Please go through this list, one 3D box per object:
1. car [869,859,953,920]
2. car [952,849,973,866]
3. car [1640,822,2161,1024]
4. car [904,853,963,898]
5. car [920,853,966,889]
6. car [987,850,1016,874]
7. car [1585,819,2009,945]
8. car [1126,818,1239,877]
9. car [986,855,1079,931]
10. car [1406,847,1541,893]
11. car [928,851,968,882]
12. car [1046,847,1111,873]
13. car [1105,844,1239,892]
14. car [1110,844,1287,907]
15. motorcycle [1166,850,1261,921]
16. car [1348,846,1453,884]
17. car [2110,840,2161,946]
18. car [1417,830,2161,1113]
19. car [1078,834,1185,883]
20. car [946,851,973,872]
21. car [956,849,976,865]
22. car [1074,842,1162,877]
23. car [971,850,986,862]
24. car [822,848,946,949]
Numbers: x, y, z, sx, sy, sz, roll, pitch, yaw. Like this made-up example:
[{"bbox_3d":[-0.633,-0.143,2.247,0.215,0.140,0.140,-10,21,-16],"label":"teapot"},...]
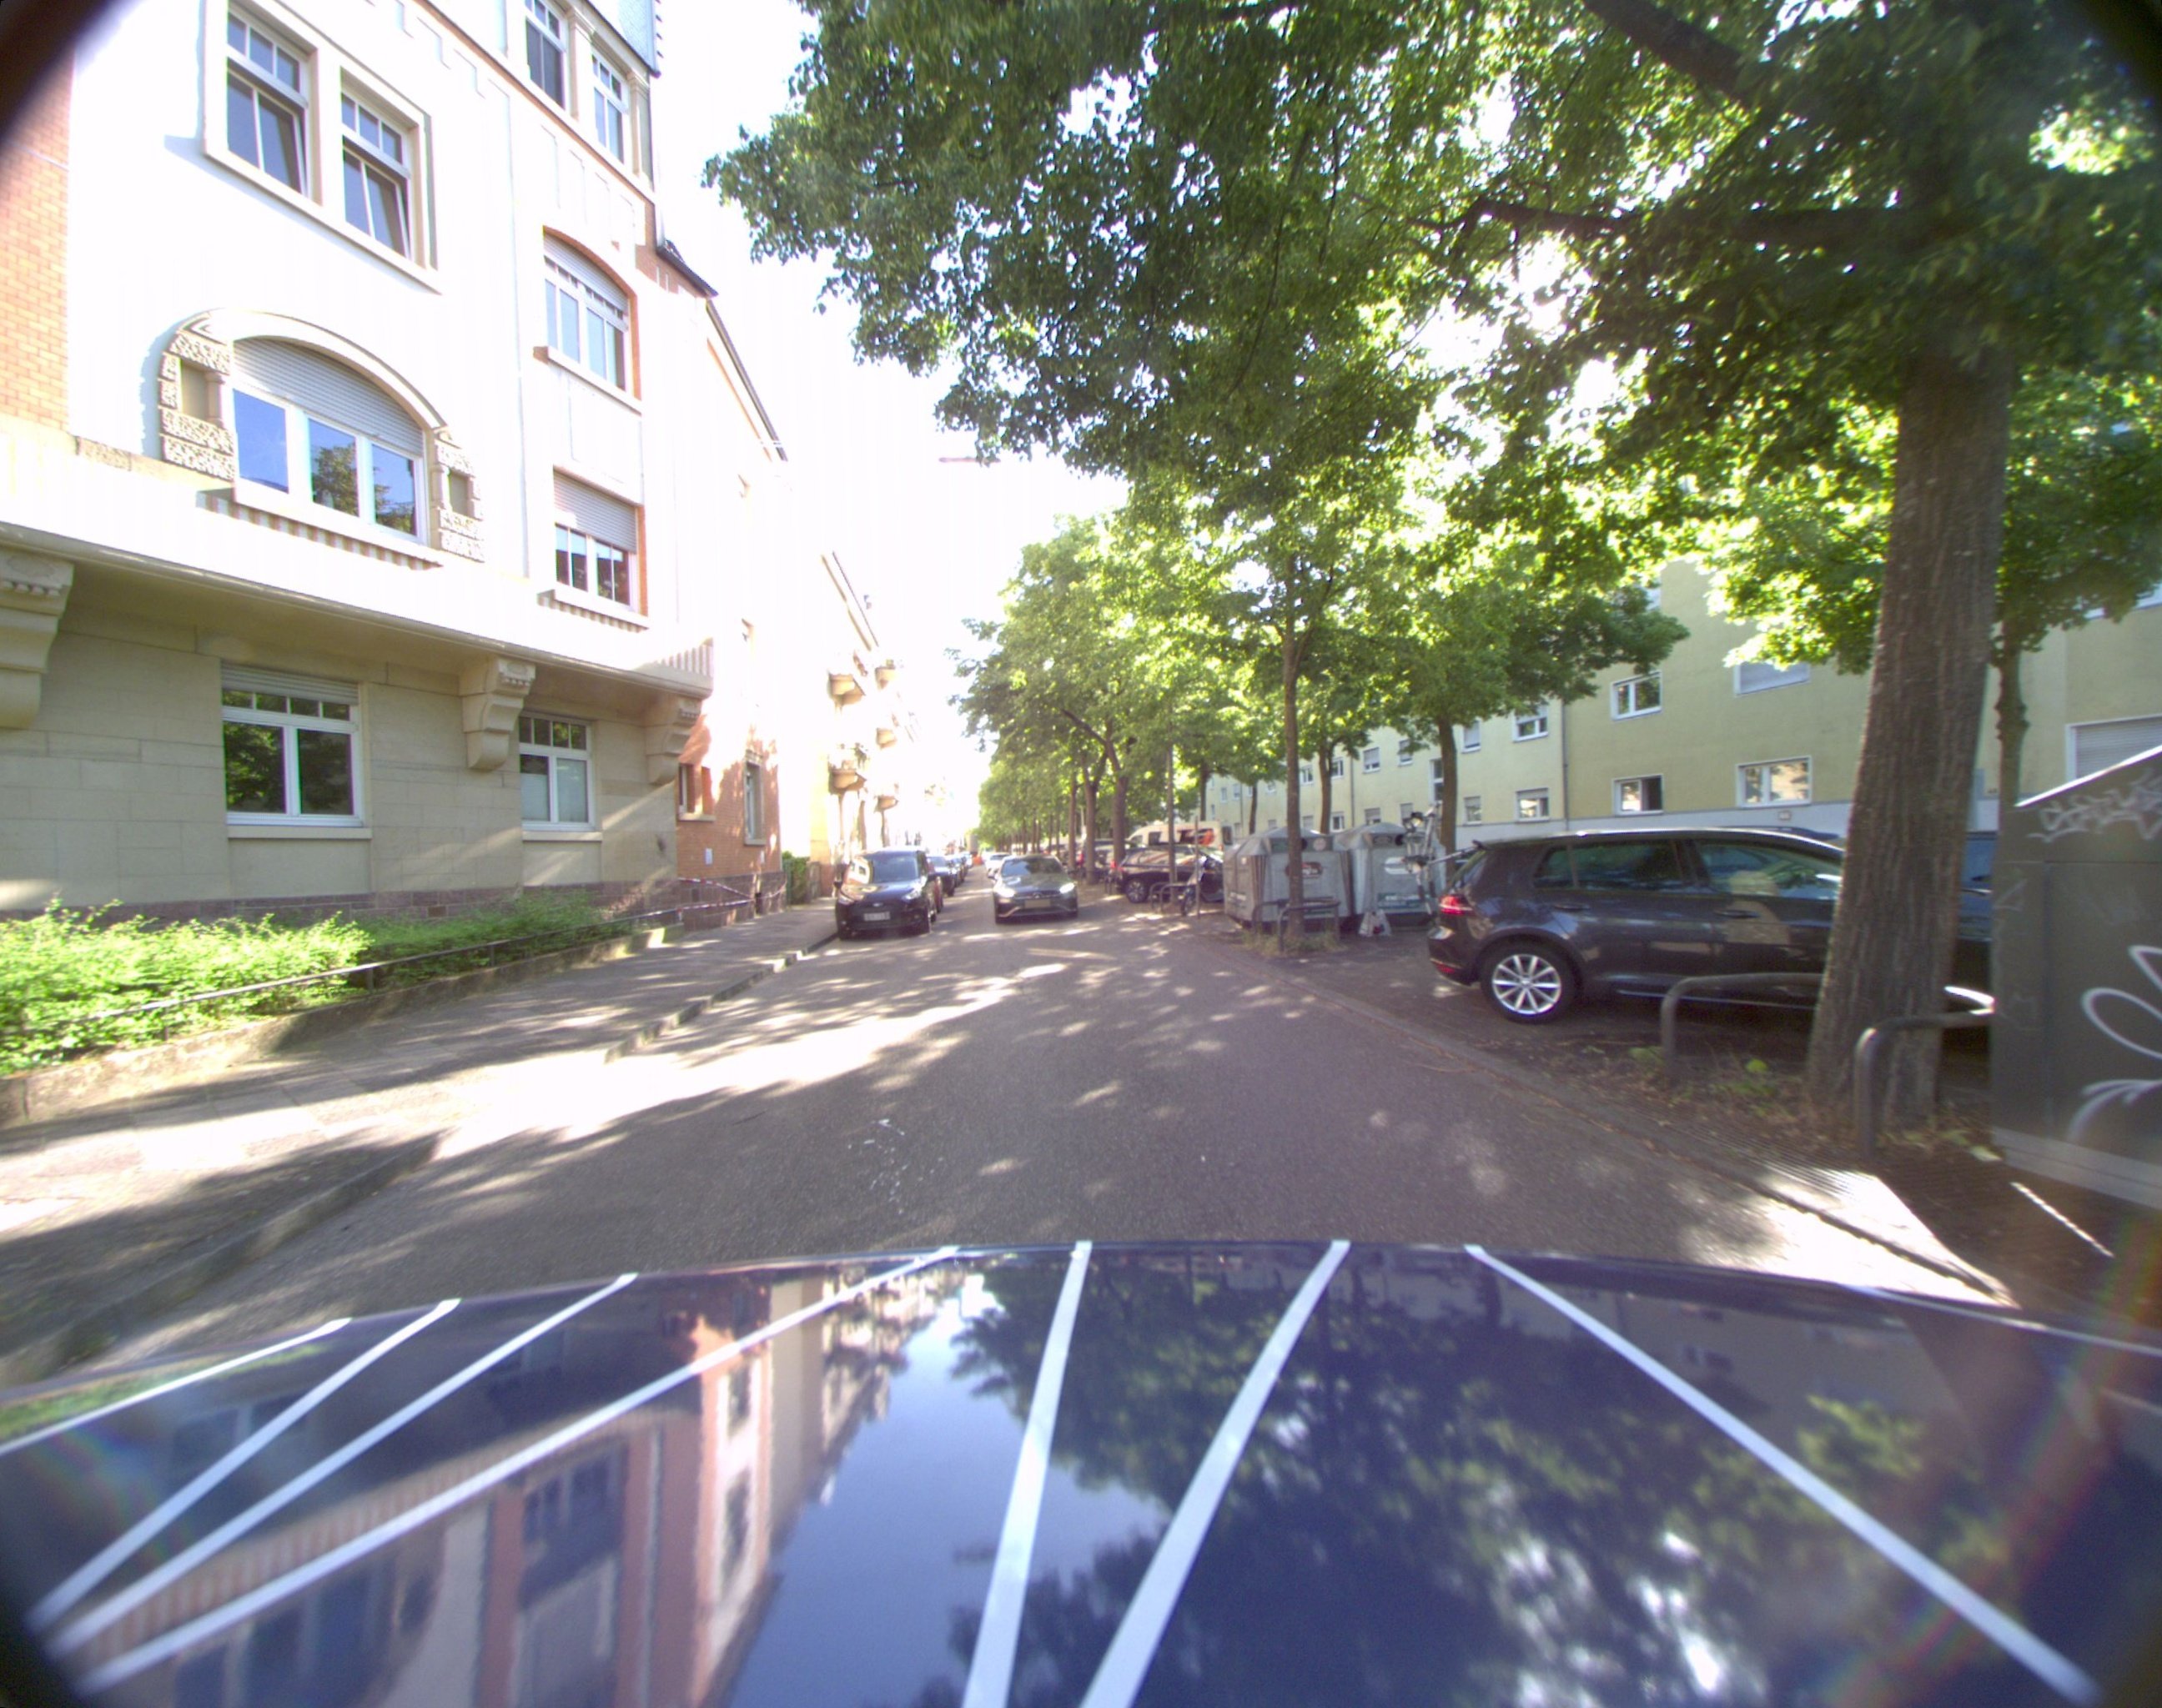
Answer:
[{"bbox_3d":[-4.836,0.946,22.161,1.798,1.445,4.206,-4,1,-5],"label":"car"},{"bbox_3d":[-11.974,0.321,77.083,1.798,1.547,4.206,-4,1,-5],"label":"car"},{"bbox_3d":[7.506,0.502,6.731,3.989,1.464,1.763,-1,1,32],"label":"car"},{"bbox_3d":[-5.775,0.806,30.227,1.798,1.547,4.206,-4,1,-5],"label":"car"},{"bbox_3d":[-6.735,0.785,37.486,1.798,1.547,4.206,-4,1,-5],"label":"car"},{"bbox_3d":[-5.168,0.487,49.692,1.798,1.427,4.206,-2,0,-5],"label":"car"},{"bbox_3d":[9.334,0.342,10.168,3.997,1.464,1.759,-1,1,1],"label":"car"},{"bbox_3d":[4.528,-0.245,34.009,4.583,2.476,1.990,-1,1,27],"label":"car"},{"bbox_3d":[-1.166,0.790,17.526,1.798,1.427,4.206,-3,0,-5],"label":"car"},{"bbox_3d":[13.560,0.509,26.585,2.043,1.430,4.384,-1,0,-7],"label":"car"},{"bbox_3d":[-7.403,0.656,42.674,1.798,1.547,4.206,-4,1,-5],"label":"car"},{"bbox_3d":[-0.166,0.396,51.392,3.992,1.677,1.826,-1,1,18],"label":"car"},{"bbox_3d":[3.015,0.458,25.280,3.989,1.445,1.827,-1,1,31],"label":"car"},{"bbox_3d":[2.931,0.524,19.185,3.989,1.433,1.827,-1,1,31],"label":"car"},{"bbox_3d":[2.722,0.617,15.592,1.802,1.340,0.727,-2,1,-25],"label":"motorcycle"},{"bbox_3d":[12.998,0.409,31.264,2.043,1.430,4.384,-1,0,-7],"label":"car"},{"bbox_3d":[15.702,0.521,8.694,1.735,1.430,4.384,-1,0,-7],"label":"car"},{"bbox_3d":[4.758,0.619,5.515,3.989,1.464,1.763,-1,1,33],"label":"car"},{"bbox_3d":[2.095,0.193,31.512,3.989,1.887,1.827,-1,1,31],"label":"car"},{"bbox_3d":[-9.896,0.574,62.156,1.798,1.547,4.206,-4,1,-5],"label":"car"},{"bbox_3d":[-12.346,0.320,82.052,1.798,1.547,4.206,-4,1,-5],"label":"car"},{"bbox_3d":[1.863,0.286,38.153,3.989,1.624,1.827,-1,1,31],"label":"car"},{"bbox_3d":[-14.387,0.250,106.528,1.798,1.547,4.206,-4,1,-5],"label":"car"},{"bbox_3d":[-4.037,0.824,16.264,1.798,1.757,4.206,-4,1,-5],"label":"car"}]
